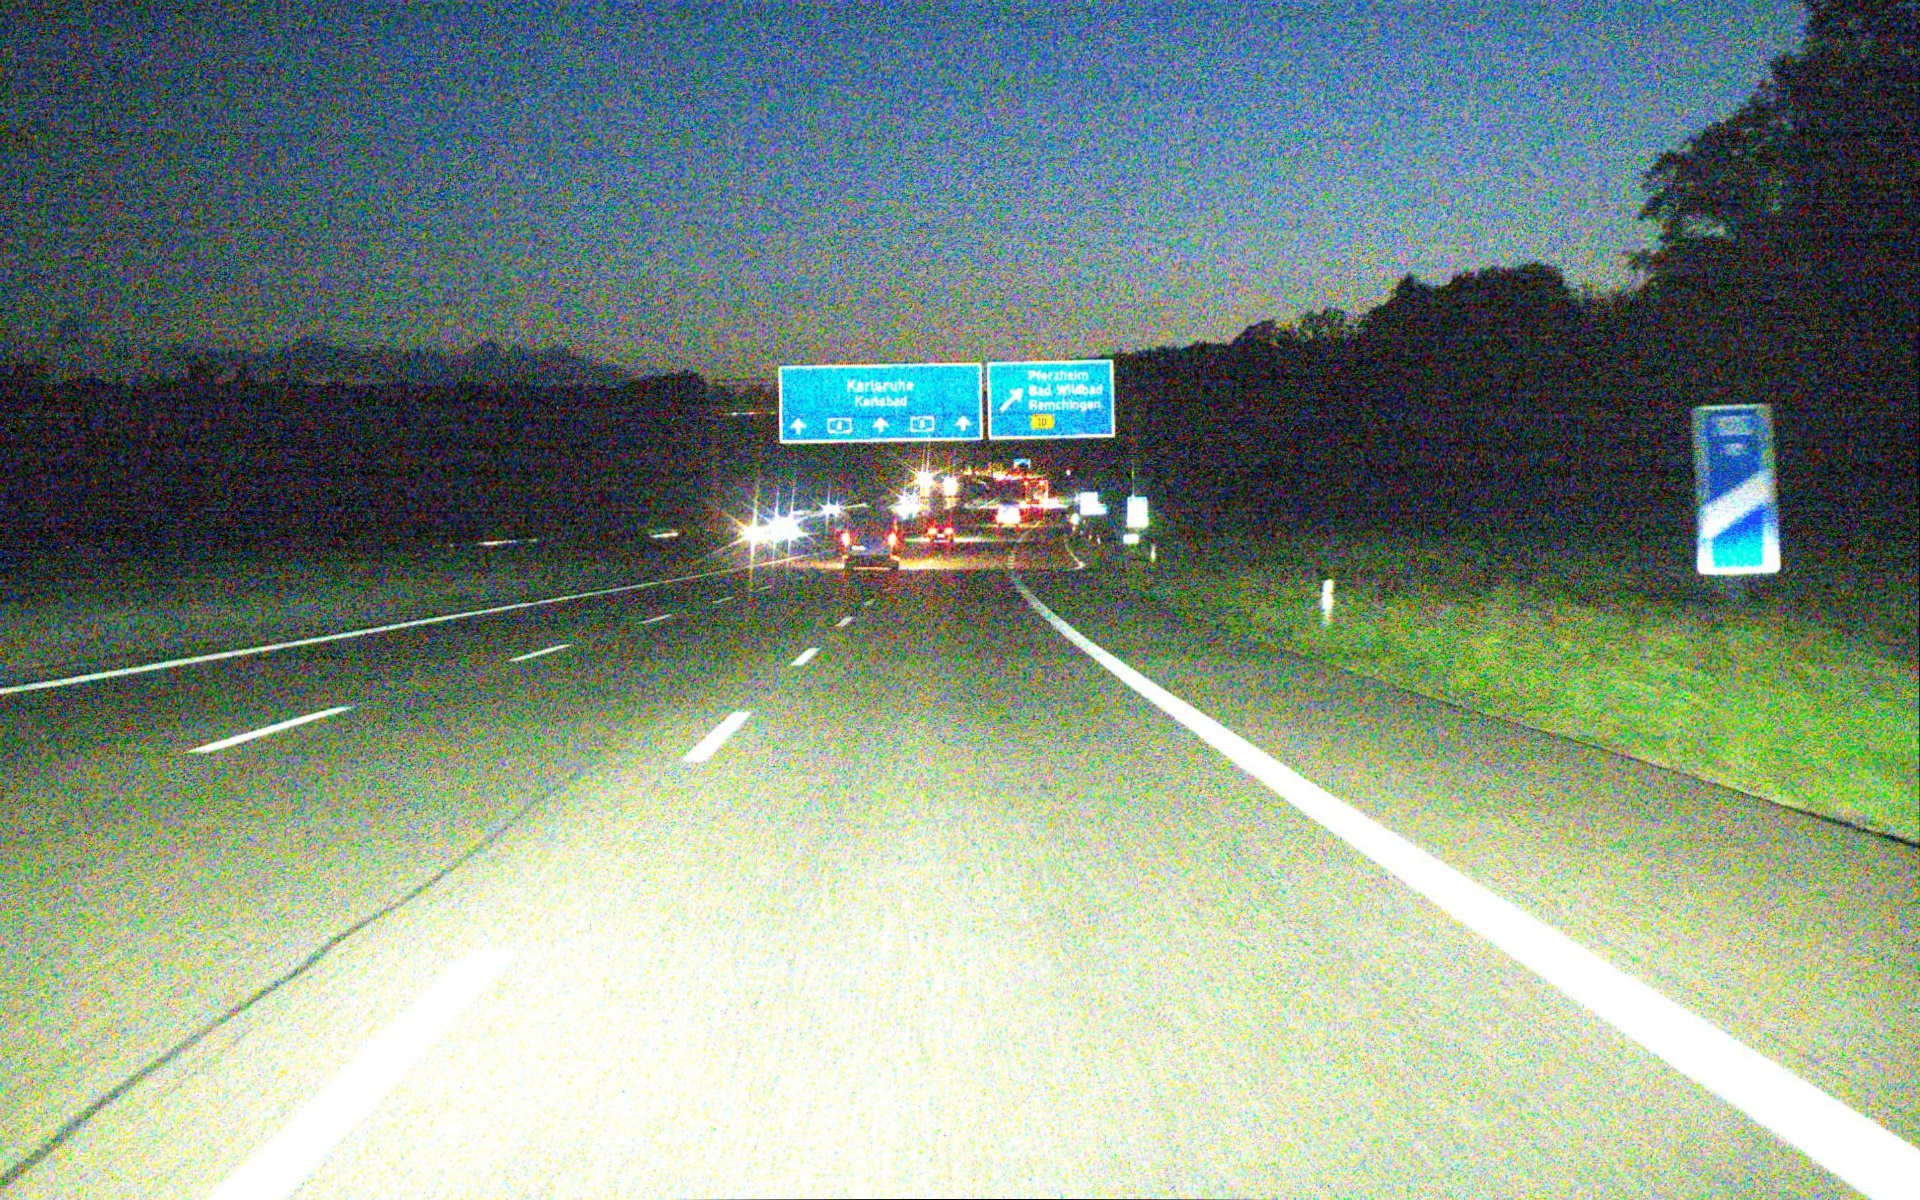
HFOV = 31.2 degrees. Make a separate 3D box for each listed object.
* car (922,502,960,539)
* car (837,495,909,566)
[{"bbox_3d":[-1.456,-5.988,260.428,2.786,2.724,6.299,0,0,-2],"label":"car"},{"bbox_3d":[-3.428,-2.733,136.461,2.786,2.724,6.299,0,0,-1],"label":"car"}]
